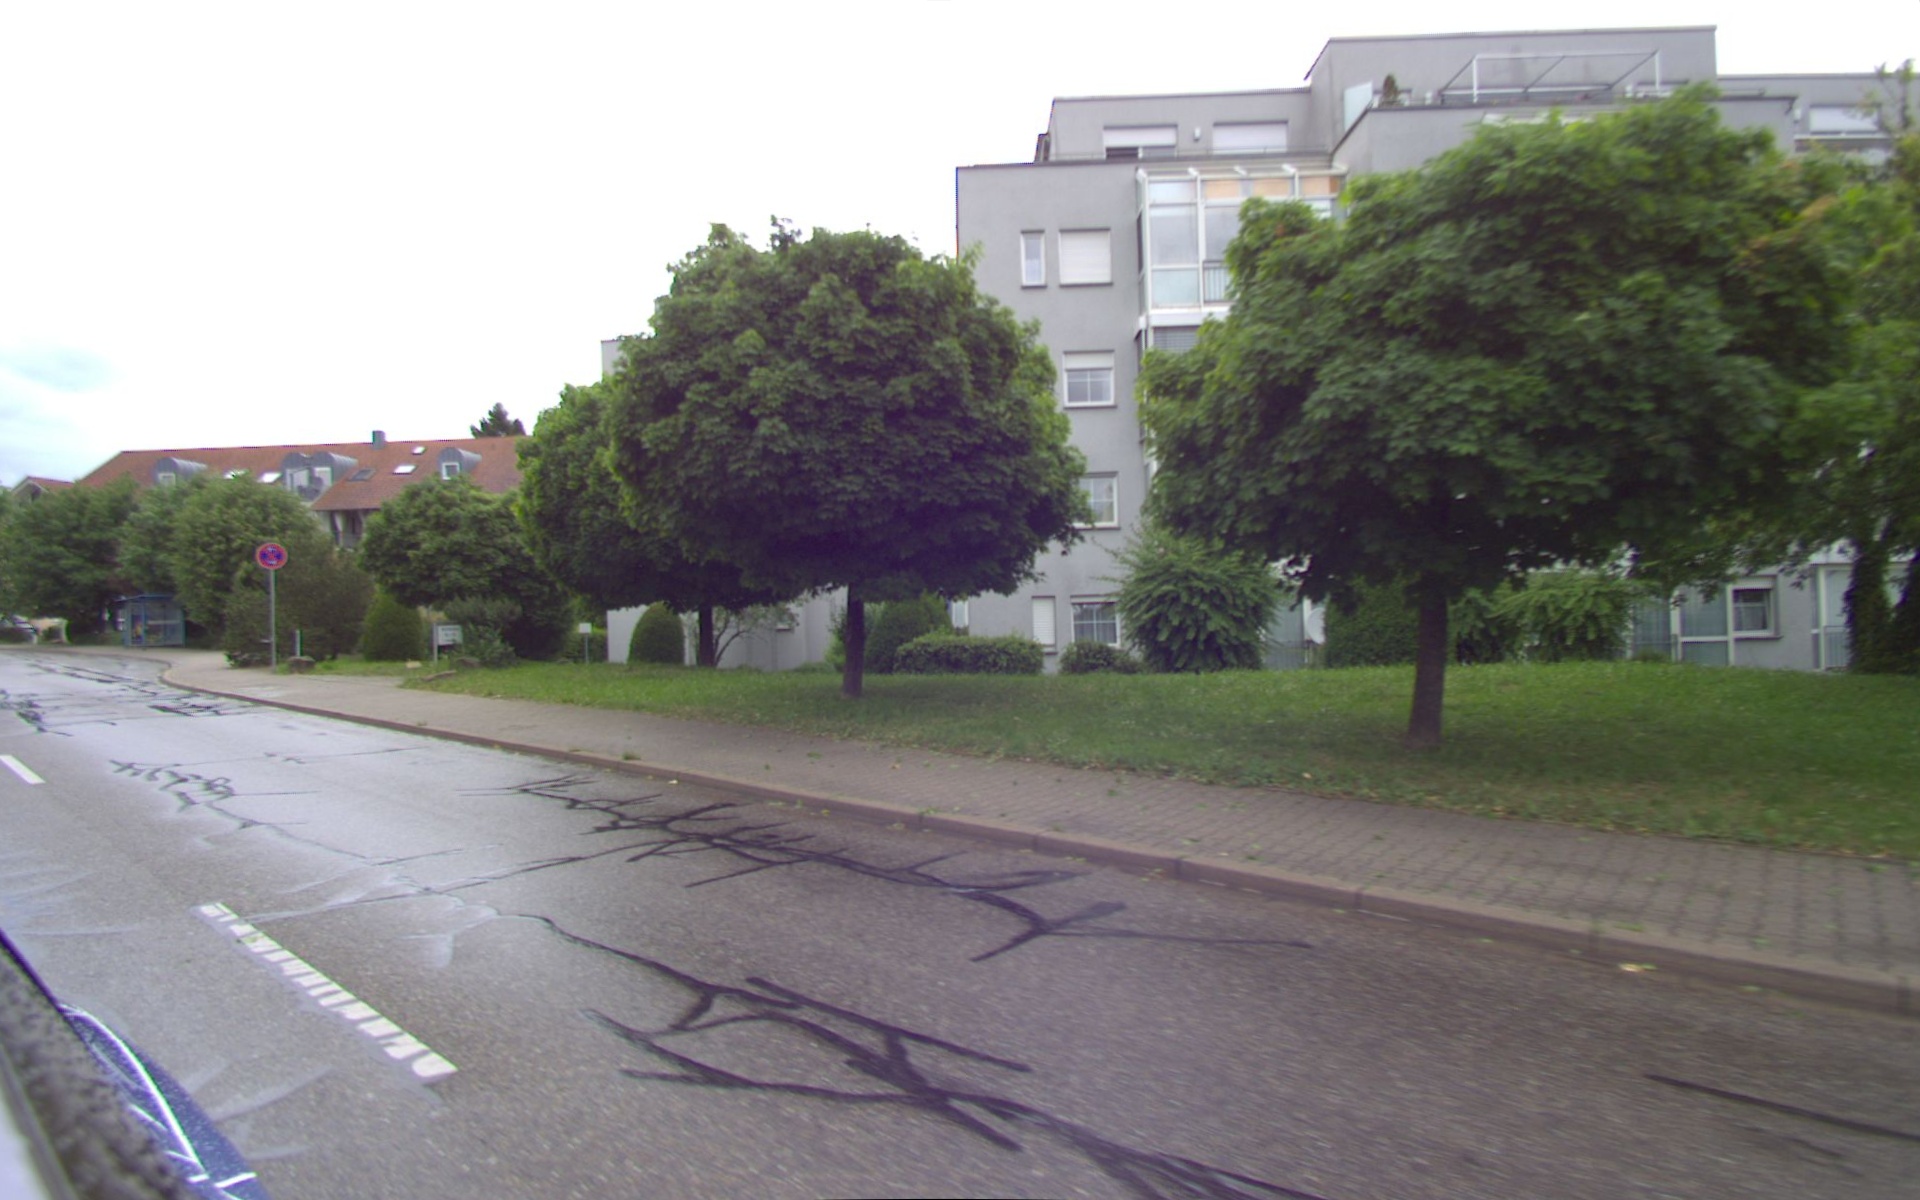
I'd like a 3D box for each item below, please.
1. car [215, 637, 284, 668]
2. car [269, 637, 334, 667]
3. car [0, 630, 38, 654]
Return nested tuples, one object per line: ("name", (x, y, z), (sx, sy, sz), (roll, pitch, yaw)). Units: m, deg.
("car", (-36.657, 2.680, 52.187), (3.992, 1.475, 1.753), (-1, 0, 36))
("car", (-35.194, 2.744, 54.066), (3.992, 1.475, 1.596), (-1, 0, 36))
("car", (-67.932, 2.984, 71.515), (3.944, 1.613, 1.737), (-1, -1, 1))
